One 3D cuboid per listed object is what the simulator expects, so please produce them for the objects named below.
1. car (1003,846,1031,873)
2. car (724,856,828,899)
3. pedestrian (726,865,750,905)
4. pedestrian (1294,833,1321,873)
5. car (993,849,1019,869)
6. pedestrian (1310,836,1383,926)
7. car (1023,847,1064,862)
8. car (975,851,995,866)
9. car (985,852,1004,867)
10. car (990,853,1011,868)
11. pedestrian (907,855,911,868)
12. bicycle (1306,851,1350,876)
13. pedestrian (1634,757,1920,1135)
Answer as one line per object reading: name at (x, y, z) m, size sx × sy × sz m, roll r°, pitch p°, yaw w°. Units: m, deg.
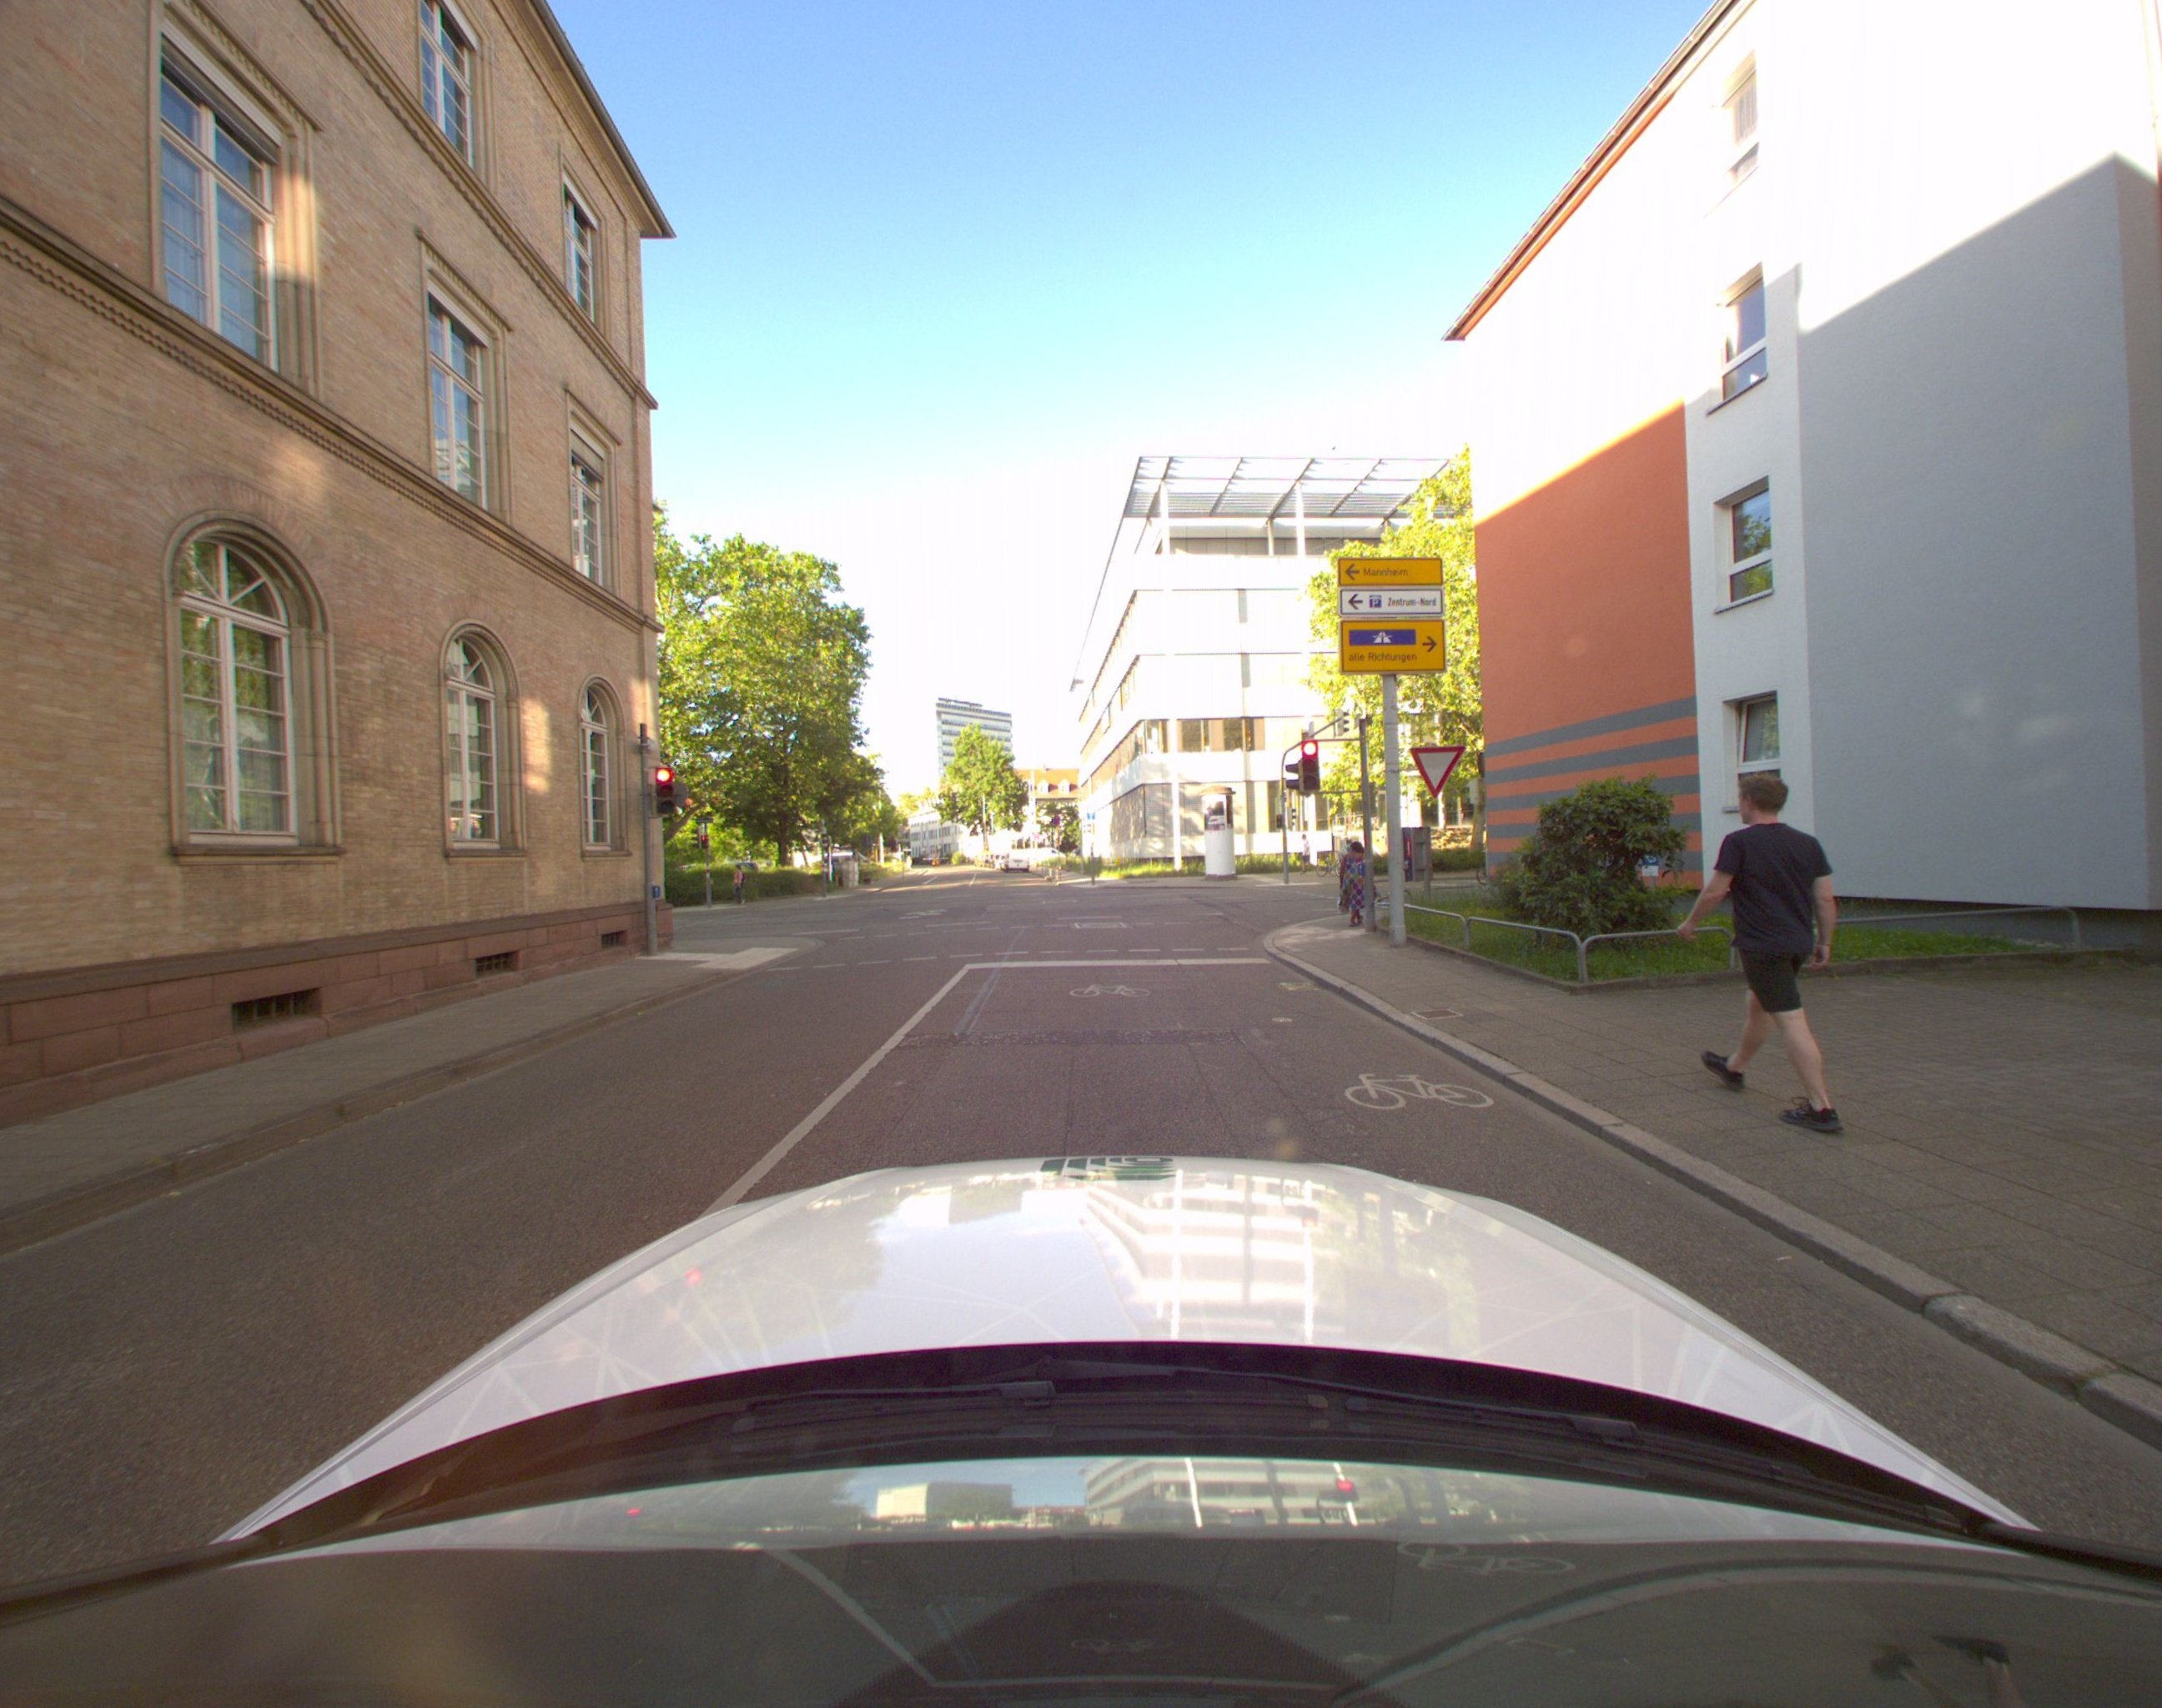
car at (-5.130, 0.415, 64.932) m, size 2.065 × 1.963 × 4.228 m, roll -2°, pitch 0°, yaw -7°
car at (-14.399, 1.076, 38.634) m, size 4.219 × 1.777 × 1.901 m, roll -2°, pitch 0°, yaw -7°
pedestrian at (-14.036, 1.260, 33.358) m, size 0.718 × 1.599 × 0.610 m, roll -2°, pitch 0°, yaw -40°
pedestrian at (10.627, -0.065, 38.191) m, size 1.027 × 1.831 × 0.542 m, roll -2°, pitch 0°, yaw 38°
car at (-7.101, 0.486, 76.906) m, size 1.947 × 1.795 × 4.223 m, roll -2°, pitch 0°, yaw -11°
pedestrian at (4.948, 0.504, 15.172) m, size 0.945 × 1.573 × 0.755 m, roll -6°, pitch 0°, yaw 38°
car at (-4.751, 0.088, 103.104) m, size 4.889 × 1.872 × 1.990 m, roll -1°, pitch -1°, yaw -15°
car at (-11.312, 0.503, 96.121) m, size 2.100 × 1.658 × 4.461 m, roll -2°, pitch 0°, yaw -9°
car at (-9.202, 0.561, 86.240) m, size 1.704 × 1.464 × 4.225 m, roll -2°, pitch 0°, yaw -9°
car at (-8.111, 0.622, 81.738) m, size 1.705 × 1.424 × 4.221 m, roll -2°, pitch 0°, yaw -11°
pedestrian at (-20.445, 0.944, 97.046) m, size 0.380 × 1.534 × 0.444 m, roll -2°, pitch 0°, yaw -10°
bicycle at (10.904, 0.426, 35.995) m, size 0.467 × 1.049 × 1.893 m, roll -2°, pitch 0°, yaw -40°
pedestrian at (3.691, 0.448, 4.419) m, size 0.641 × 1.788 × 0.917 m, roll -5°, pitch 0°, yaw 4°
